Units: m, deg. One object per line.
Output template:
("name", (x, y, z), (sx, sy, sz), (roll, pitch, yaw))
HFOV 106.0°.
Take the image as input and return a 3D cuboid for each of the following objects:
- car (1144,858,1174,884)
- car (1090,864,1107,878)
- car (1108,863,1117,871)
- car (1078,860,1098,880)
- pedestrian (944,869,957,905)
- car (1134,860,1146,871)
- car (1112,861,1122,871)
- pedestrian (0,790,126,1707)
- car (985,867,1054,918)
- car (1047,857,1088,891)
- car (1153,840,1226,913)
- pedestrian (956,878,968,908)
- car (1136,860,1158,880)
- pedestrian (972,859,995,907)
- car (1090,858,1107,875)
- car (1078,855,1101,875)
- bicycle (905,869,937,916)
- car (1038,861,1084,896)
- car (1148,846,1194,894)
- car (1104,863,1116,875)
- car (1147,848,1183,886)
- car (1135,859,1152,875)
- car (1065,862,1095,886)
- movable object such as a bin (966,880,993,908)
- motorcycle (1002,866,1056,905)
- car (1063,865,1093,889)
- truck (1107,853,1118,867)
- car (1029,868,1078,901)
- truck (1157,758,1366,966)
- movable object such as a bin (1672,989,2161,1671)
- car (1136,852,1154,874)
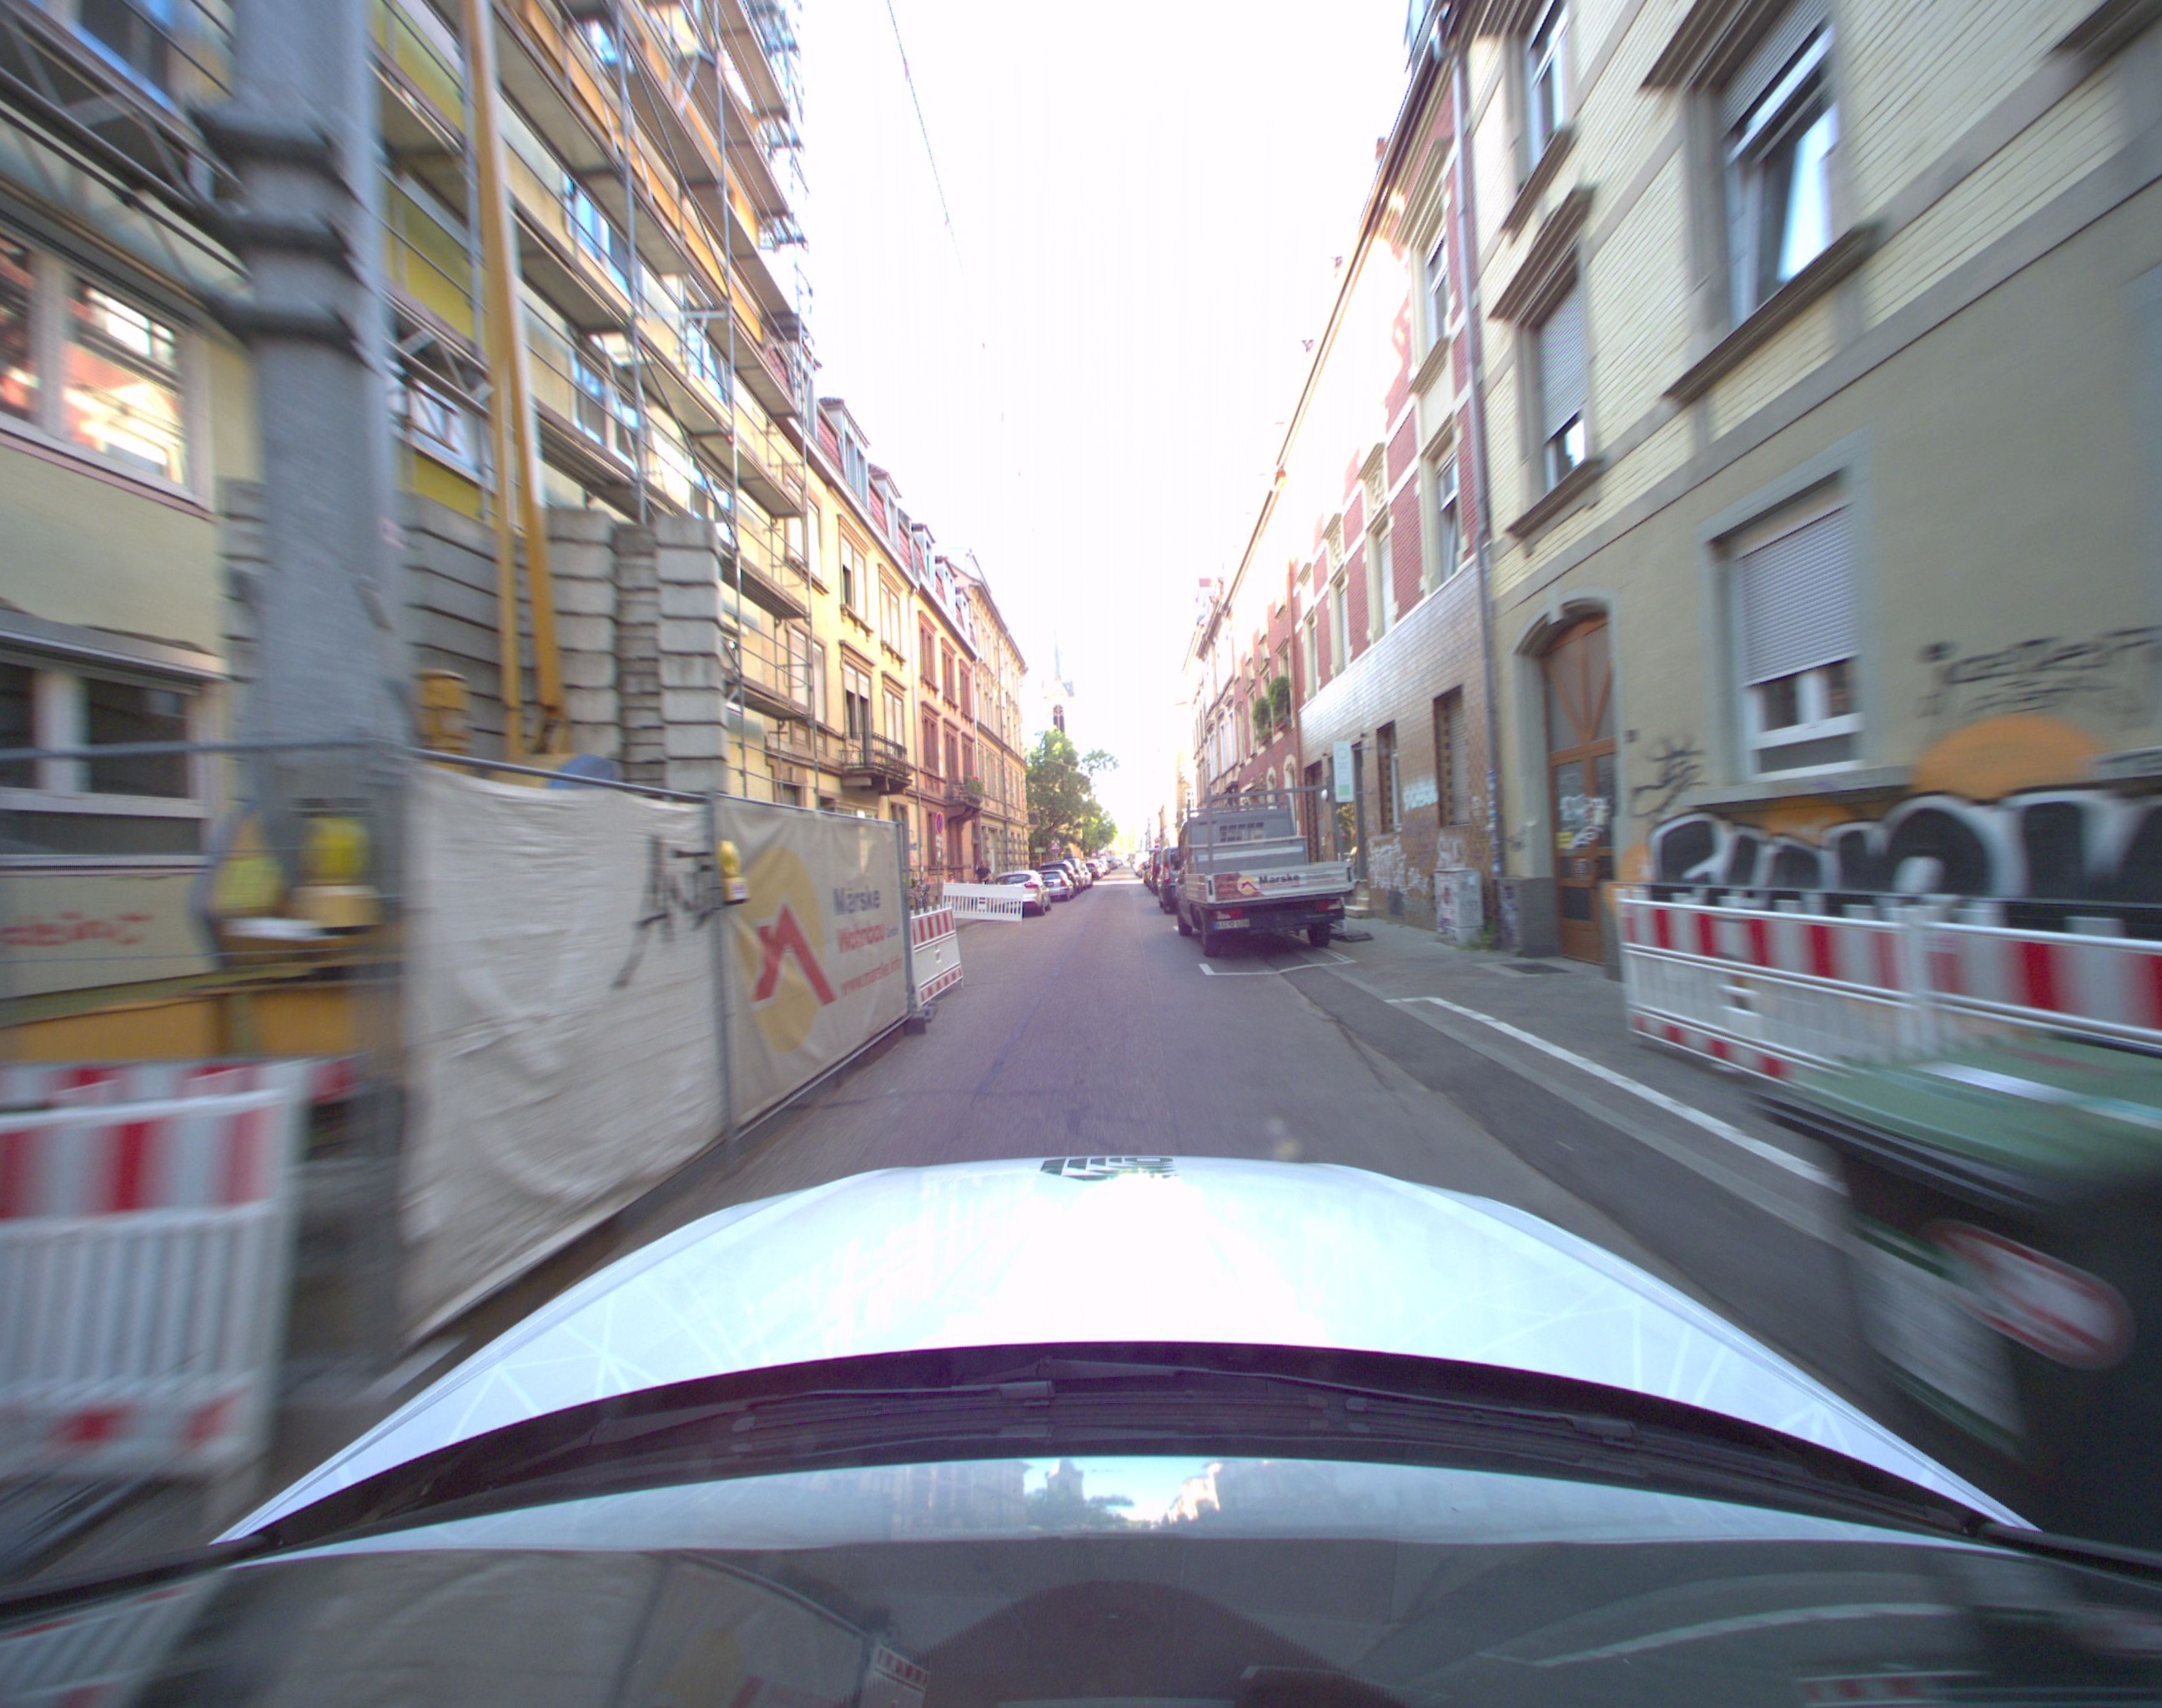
("car", (4.780, 1.010, 50.275), (1.659, 1.479, 3.891), (-3, 0, 4))
("car", (2.042, 1.950, 95.021), (1.735, 1.586, 3.872), (-2, -1, 3))
("car", (7.060, 2.864, 182.911), (1.868, 1.796, 4.002), (-3, -1, 2))
("car", (0.656, 1.449, 73.314), (1.734, 1.646, 4.290), (-3, -1, 1))
("pedestrian", (-4.856, 1.218, 30.358), (0.392, 1.306, 0.431), (-2, -1, -2))
("car", (8.691, 1.675, 119.965), (1.596, 1.505, 4.005), (-1, -1, 5))
("car", (7.108, 2.372, 160.675), (1.867, 1.796, 4.004), (-3, -1, 4))
("pedestrian", (-1.995, 0.736, 1.002), (0.590, 1.643, 0.813), (-4, -1, 3))
("car", (-1.921, 1.183, 26.462), (1.667, 1.419, 4.002), (-4, -1, 3))
("car", (-0.698, 1.085, 45.804), (1.884, 1.784, 4.612), (-1, -1, 4))
("car", (3.195, 0.649, 24.771), (1.837, 1.984, 4.579), (0, -1, 3))
("pedestrian", (-4.431, 1.439, 30.331), (0.392, 1.086, 0.431), (-2, -1, -2))
("car", (6.069, 1.433, 74.828), (1.697, 1.714, 3.939), (-3, -1, 1))
("pedestrian", (-3.659, 1.077, 30.612), (0.683, 1.765, 0.887), (-3, -1, 0))
("car", (2.165, 1.558, 100.513), (1.856, 1.957, 4.613), (-4, -1, 3))
("car", (0.818, 1.045, 78.825), (1.837, 1.862, 4.470), (-3, 0, 4))
("bicycle", (-5.017, 1.183, 25.594), (0.522, 1.425, 1.714), (1, -1, 4))
("car", (-0.925, 1.187, 40.381), (1.780, 1.624, 4.613), (-1, -1, 4))
("car", (4.084, 0.719, 37.541), (1.824, 2.014, 4.746), (-1, -1, 4))
("car", (4.385, 2.234, 121.552), (1.593, 1.614, 3.811), (-5, -1, 3))
("car", (4.587, 0.713, 44.808), (1.762, 1.961, 4.268), (-1, -1, 4))
("car", (6.891, 1.480, 89.421), (1.799, 1.690, 4.218), (-1, -1, 4))
("car", (-0.024, 1.321, 54.873), (1.715, 1.481, 4.093), (-1, -1, 4))
("movable object such as a bin", (-3.656, 1.430, 29.450), (0.759, 0.932, 1.415), (-3, -1, 0))
("motorcycle", (-2.025, 1.231, 31.451), (0.849, 1.360, 2.171), (-4, -1, -39))
("car", (-0.124, 1.385, 50.446), (1.667, 1.420, 3.876), (-1, -1, 2))
("truck", (7.701, 1.548, 199.194), (2.521, 3.282, 7.001), (-3, -1, 4))
("car", (-1.138, 1.264, 35.209), (1.691, 1.314, 4.003), (1, -1, 3))
("truck", (2.794, 0.150, 14.433), (2.141, 2.657, 6.254), (-7, -1, 1))
("movable object such as a bin", (1.933, 0.898, 1.775), (0.737, 1.057, 0.688), (-3, -1, 3))
("car", (8.135, 1.174, 104.258), (2.059, 2.611, 5.893), (-2, -1, 4))
